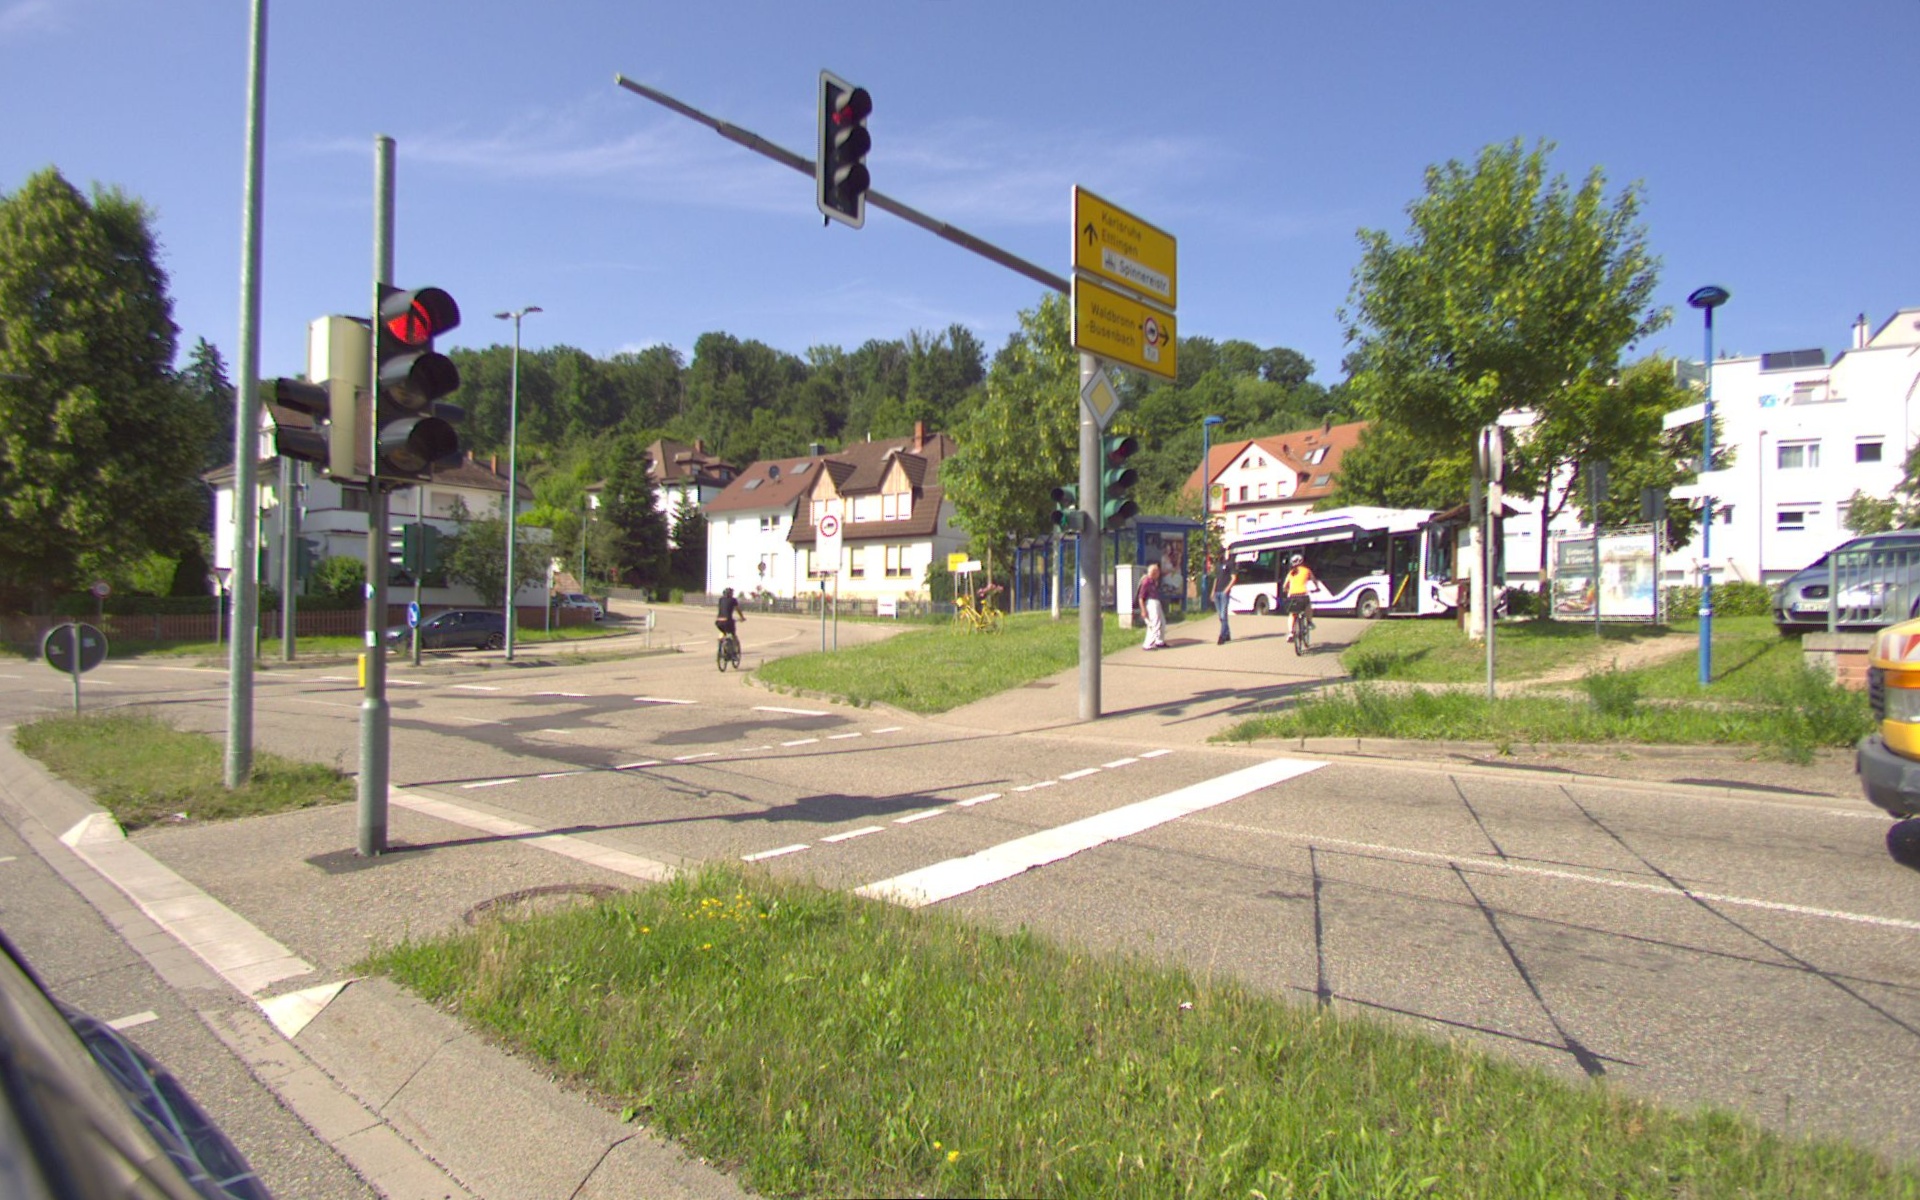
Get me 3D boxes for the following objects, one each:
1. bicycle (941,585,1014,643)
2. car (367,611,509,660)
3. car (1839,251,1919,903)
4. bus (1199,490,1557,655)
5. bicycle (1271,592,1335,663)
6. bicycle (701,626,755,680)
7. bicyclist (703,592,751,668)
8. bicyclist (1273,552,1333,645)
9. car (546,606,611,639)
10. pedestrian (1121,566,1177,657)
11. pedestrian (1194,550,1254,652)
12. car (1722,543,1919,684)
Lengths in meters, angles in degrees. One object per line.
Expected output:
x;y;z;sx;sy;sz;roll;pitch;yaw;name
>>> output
0.406;0.349;24.359;0.611;1.265;1.758;-5;0;-44;bicycle
-18.053;1.215;35.107;2.000;1.519;3.943;-3;-1;43;car
7.481;-0.167;3.641;6.464;3.033;2.441;-1;0;42;car
11.115;-0.532;29.345;2.822;3.742;12.250;-2;-1;-13;bus
6.049;0.456;17.784;0.731;1.072;1.954;-2;2;28;bicycle
-5.408;1.210;23.712;0.725;1.171;1.998;-2;-1;2;bicycle
-5.427;0.701;23.624;0.796;1.704;0.992;-2;-1;2;bicyclist
6.057;-0.021;17.843;0.803;1.576;0.948;-3;-1;28;bicyclist
-21.206;1.259;56.147;1.912;1.649;4.003;-1;-1;-44;car
3.613;0.219;19.384;0.740;1.690;0.703;-3;-1;41;pedestrian
5.147;0.012;19.714;0.856;1.922;0.731;-1;2;39;pedestrian
13.234;0.093;14.026;4.340;1.709;2.063;-2;0;-17;car
